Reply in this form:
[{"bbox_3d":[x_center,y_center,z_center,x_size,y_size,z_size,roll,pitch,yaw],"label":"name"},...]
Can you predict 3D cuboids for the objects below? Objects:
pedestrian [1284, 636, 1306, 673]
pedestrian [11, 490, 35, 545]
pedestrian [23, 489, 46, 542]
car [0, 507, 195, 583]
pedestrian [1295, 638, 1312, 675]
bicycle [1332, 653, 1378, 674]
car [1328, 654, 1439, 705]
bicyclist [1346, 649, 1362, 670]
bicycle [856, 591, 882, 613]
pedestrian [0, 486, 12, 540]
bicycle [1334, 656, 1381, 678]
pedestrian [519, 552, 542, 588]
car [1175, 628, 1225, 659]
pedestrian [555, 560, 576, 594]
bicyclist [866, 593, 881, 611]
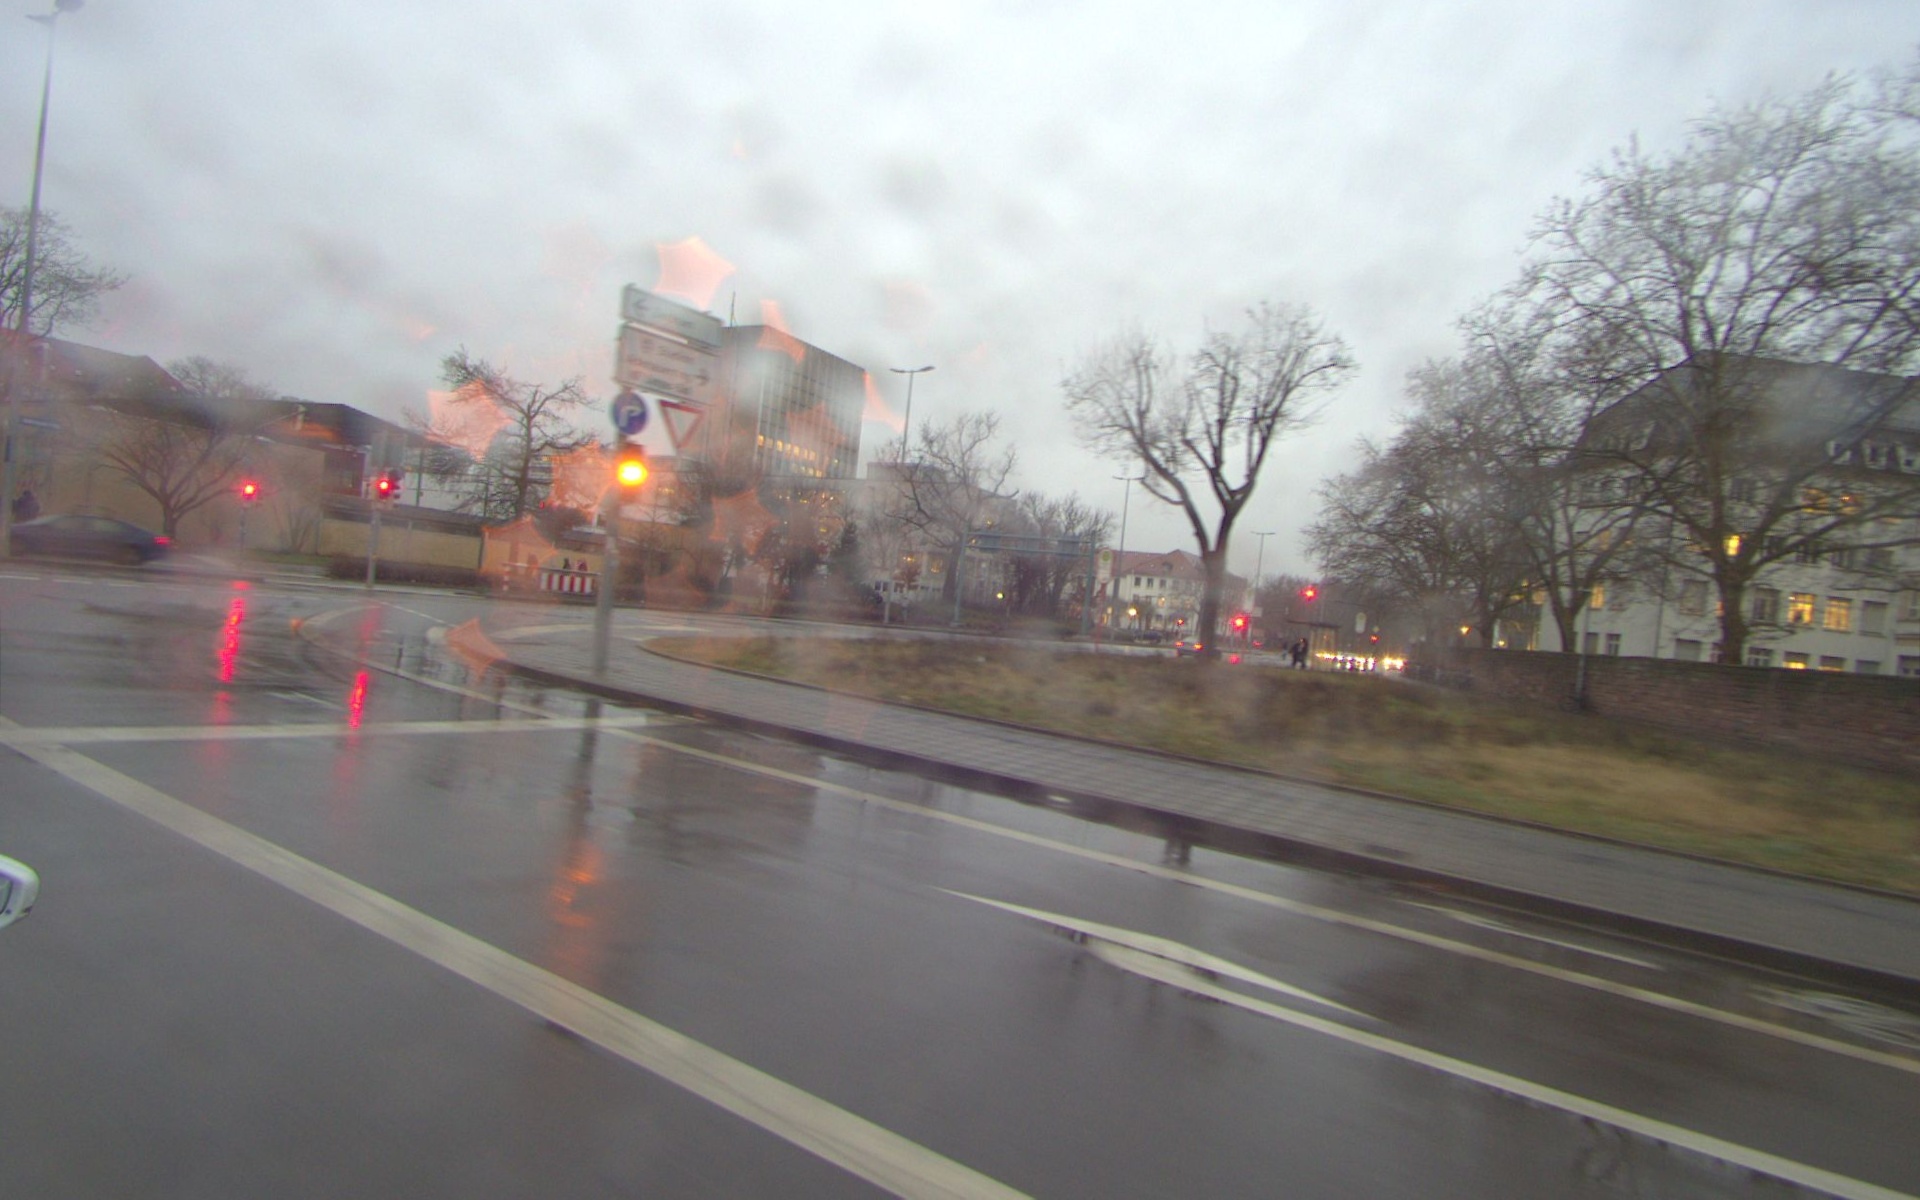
[{"bbox_3d":[18.136,2.946,54.424,0.823,1.857,0.667,5,-2,34],"label":"pedestrian"},{"bbox_3d":[-33.065,-2.903,35.492,0.456,1.860,0.434,7,-2,-41],"label":"pedestrian"},{"bbox_3d":[-33.467,-3.050,36.386,0.435,1.860,0.455,7,-2,-40],"label":"pedestrian"},{"bbox_3d":[-26.136,-1.603,30.452,1.943,1.598,4.424,4,-3,44],"label":"car"},{"bbox_3d":[17.606,2.904,51.571,0.633,1.857,0.836,5,-1,23],"label":"pedestrian"},{"bbox_3d":[22.716,3.645,57.851,2.373,1.003,0.537,4,-2,31],"label":"bicycle"},{"bbox_3d":[10.873,2.037,25.807,2.656,0.989,1.290,7,1,-34],"label":"car"},{"bbox_3d":[22.464,3.378,57.393,0.690,1.092,0.494,5,-2,32],"label":"bicyclist"},{"bbox_3d":[-6.599,0.143,73.242,0.584,1.439,1.922,4,-2,40],"label":"bicycle"},{"bbox_3d":[-34.254,-3.114,35.918,0.436,1.860,0.455,7,-2,-41],"label":"pedestrian"},{"bbox_3d":[22.640,3.801,57.253,2.373,1.003,0.479,4,-2,31],"label":"bicycle"},{"bbox_3d":[-22.225,-1.544,52.034,0.749,1.745,0.623,5,-2,38],"label":"pedestrian"},{"bbox_3d":[15.766,2.883,65.947,1.861,1.670,3.636,4,-3,35],"label":"car"},{"bbox_3d":[-21.179,-1.243,54.024,0.749,1.745,0.623,5,-2,38],"label":"pedestrian"},{"bbox_3d":[-6.321,0.130,73.546,0.599,1.261,0.698,4,-2,40],"label":"bicyclist"}]
